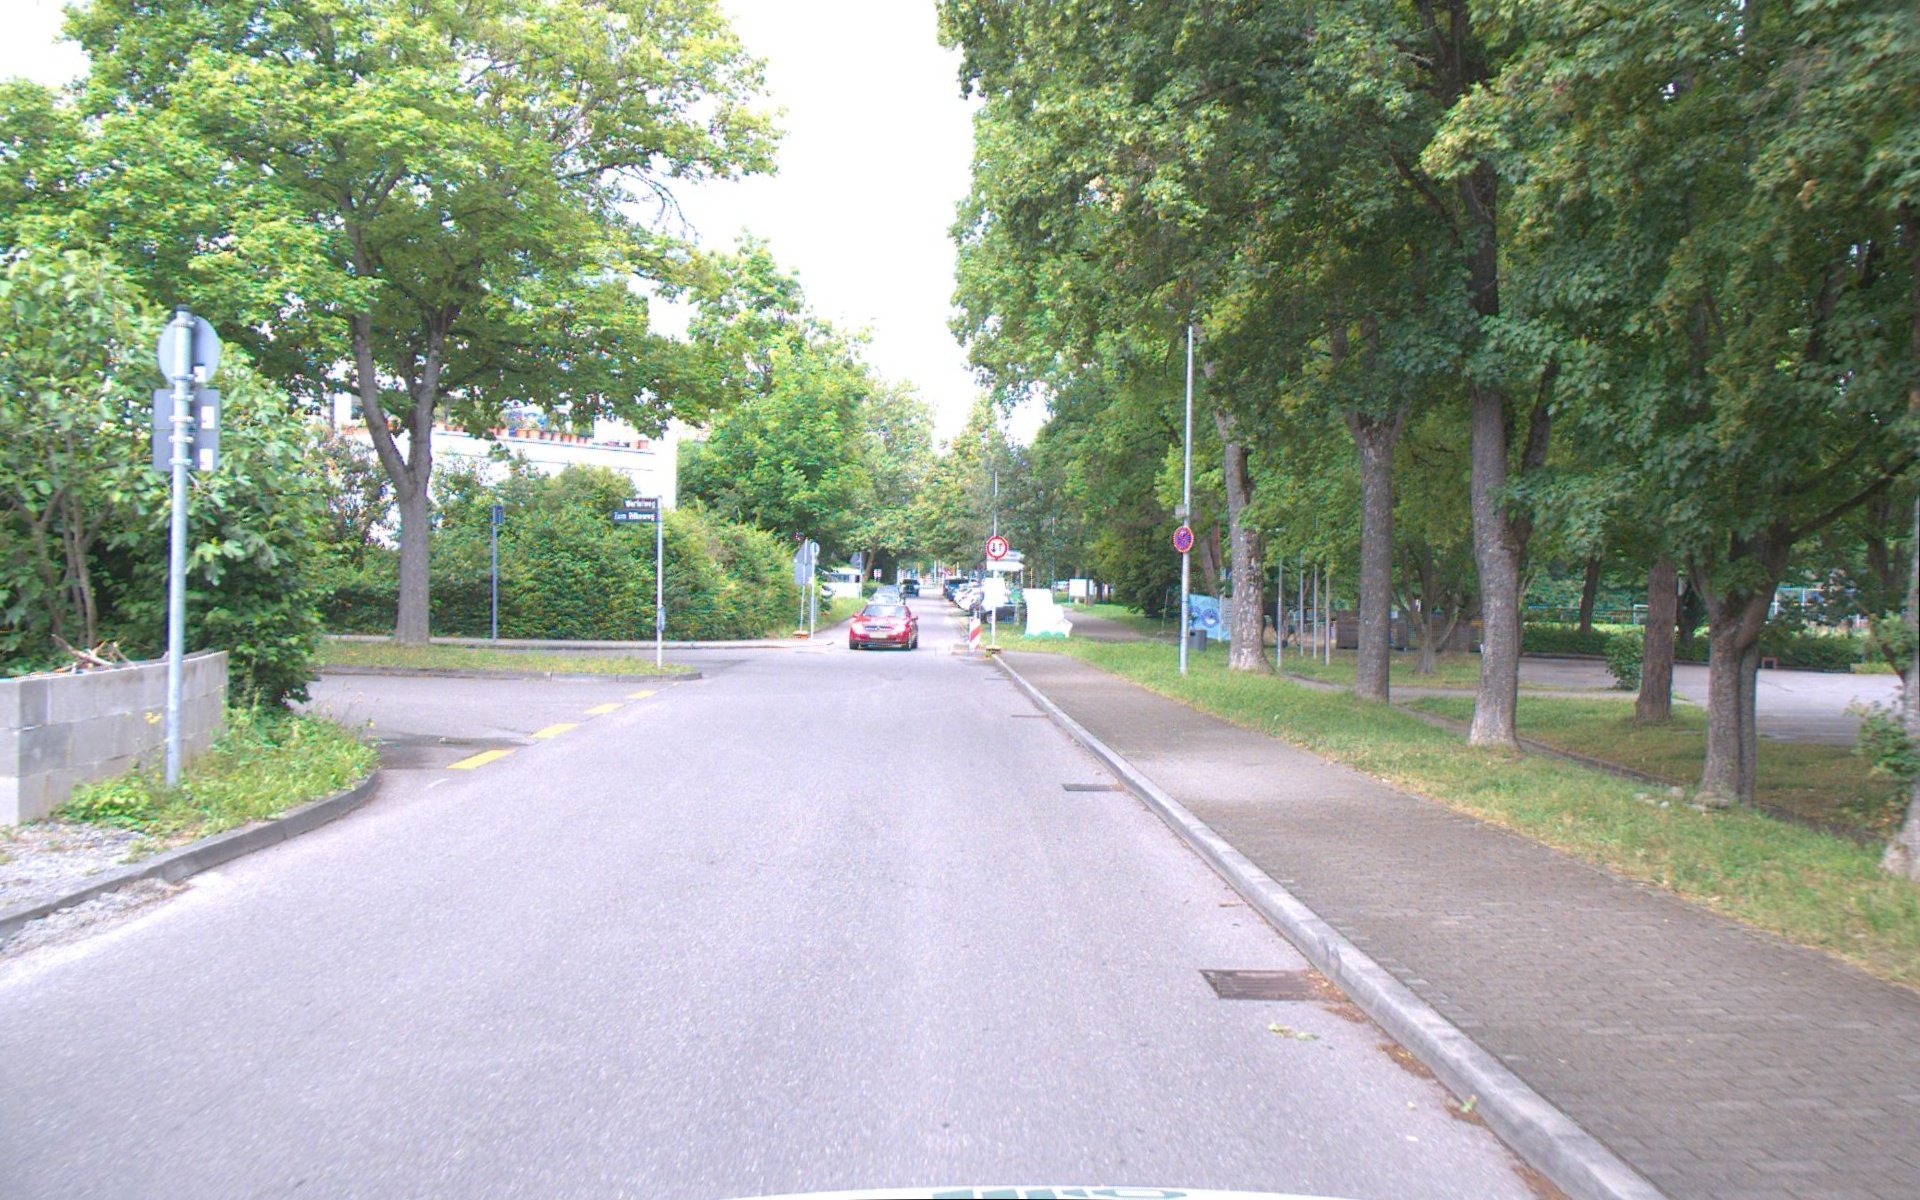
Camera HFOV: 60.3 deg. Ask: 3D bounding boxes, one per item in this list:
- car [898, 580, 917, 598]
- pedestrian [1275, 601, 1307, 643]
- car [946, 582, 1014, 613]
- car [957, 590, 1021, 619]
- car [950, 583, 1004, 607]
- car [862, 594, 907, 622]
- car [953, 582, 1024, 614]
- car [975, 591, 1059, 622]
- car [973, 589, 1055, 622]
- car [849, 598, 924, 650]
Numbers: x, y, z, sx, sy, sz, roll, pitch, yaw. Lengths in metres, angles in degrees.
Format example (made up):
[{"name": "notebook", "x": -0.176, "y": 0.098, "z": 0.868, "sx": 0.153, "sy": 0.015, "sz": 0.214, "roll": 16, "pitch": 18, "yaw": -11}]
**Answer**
[{"name": "car", "x": -5.485, "y": -1.116, "z": 172.804, "sx": 1.929, "sy": 1.778, "sz": 4.336, "roll": 2, "pitch": 0, "yaw": -2}, {"name": "pedestrian", "x": 13.476, "y": 0.886, "z": 67.364, "sx": 1.124, "sy": 1.704, "sz": 0.793, "roll": -1, "pitch": -1, "yaw": 24}, {"name": "car", "x": 1.206, "y": -0.168, "z": 102.033, "sx": 3.984, "sy": 1.717, "sz": 1.821, "roll": -2, "pitch": 1, "yaw": -5}, {"name": "car", "x": 1.883, "y": 0.270, "z": 107.590, "sx": 3.984, "sy": 1.717, "sz": 1.821, "roll": -2, "pitch": 1, "yaw": -5}, {"name": "car", "x": 1.330, "y": -0.402, "z": 127.709, "sx": 3.984, "sy": 1.717, "sz": 1.821, "roll": -2, "pitch": 1, "yaw": -5}, {"name": "car", "x": -3.781, "y": 0.368, "z": 83.483, "sx": 1.744, "sy": 1.329, "sz": 4.298, "roll": 2, "pitch": 0, "yaw": 4}, {"name": "car", "x": 1.679, "y": -0.108, "z": 98.320, "sx": 3.984, "sy": 1.717, "sz": 1.821, "roll": -2, "pitch": 1, "yaw": -5}, {"name": "car", "x": 2.754, "y": 0.321, "z": 80.755, "sx": 3.981, "sy": 1.459, "sz": 1.999, "roll": 0, "pitch": -1, "yaw": -2}, {"name": "car", "x": 2.694, "y": 0.270, "z": 82.939, "sx": 3.981, "sy": 1.596, "sz": 1.821, "roll": 0, "pitch": -1, "yaw": -2}, {"name": "car", "x": -2.066, "y": 0.655, "z": 47.256, "sx": 1.714, "sy": 1.359, "sz": 4.067, "roll": 2, "pitch": 0, "yaw": 3}]
